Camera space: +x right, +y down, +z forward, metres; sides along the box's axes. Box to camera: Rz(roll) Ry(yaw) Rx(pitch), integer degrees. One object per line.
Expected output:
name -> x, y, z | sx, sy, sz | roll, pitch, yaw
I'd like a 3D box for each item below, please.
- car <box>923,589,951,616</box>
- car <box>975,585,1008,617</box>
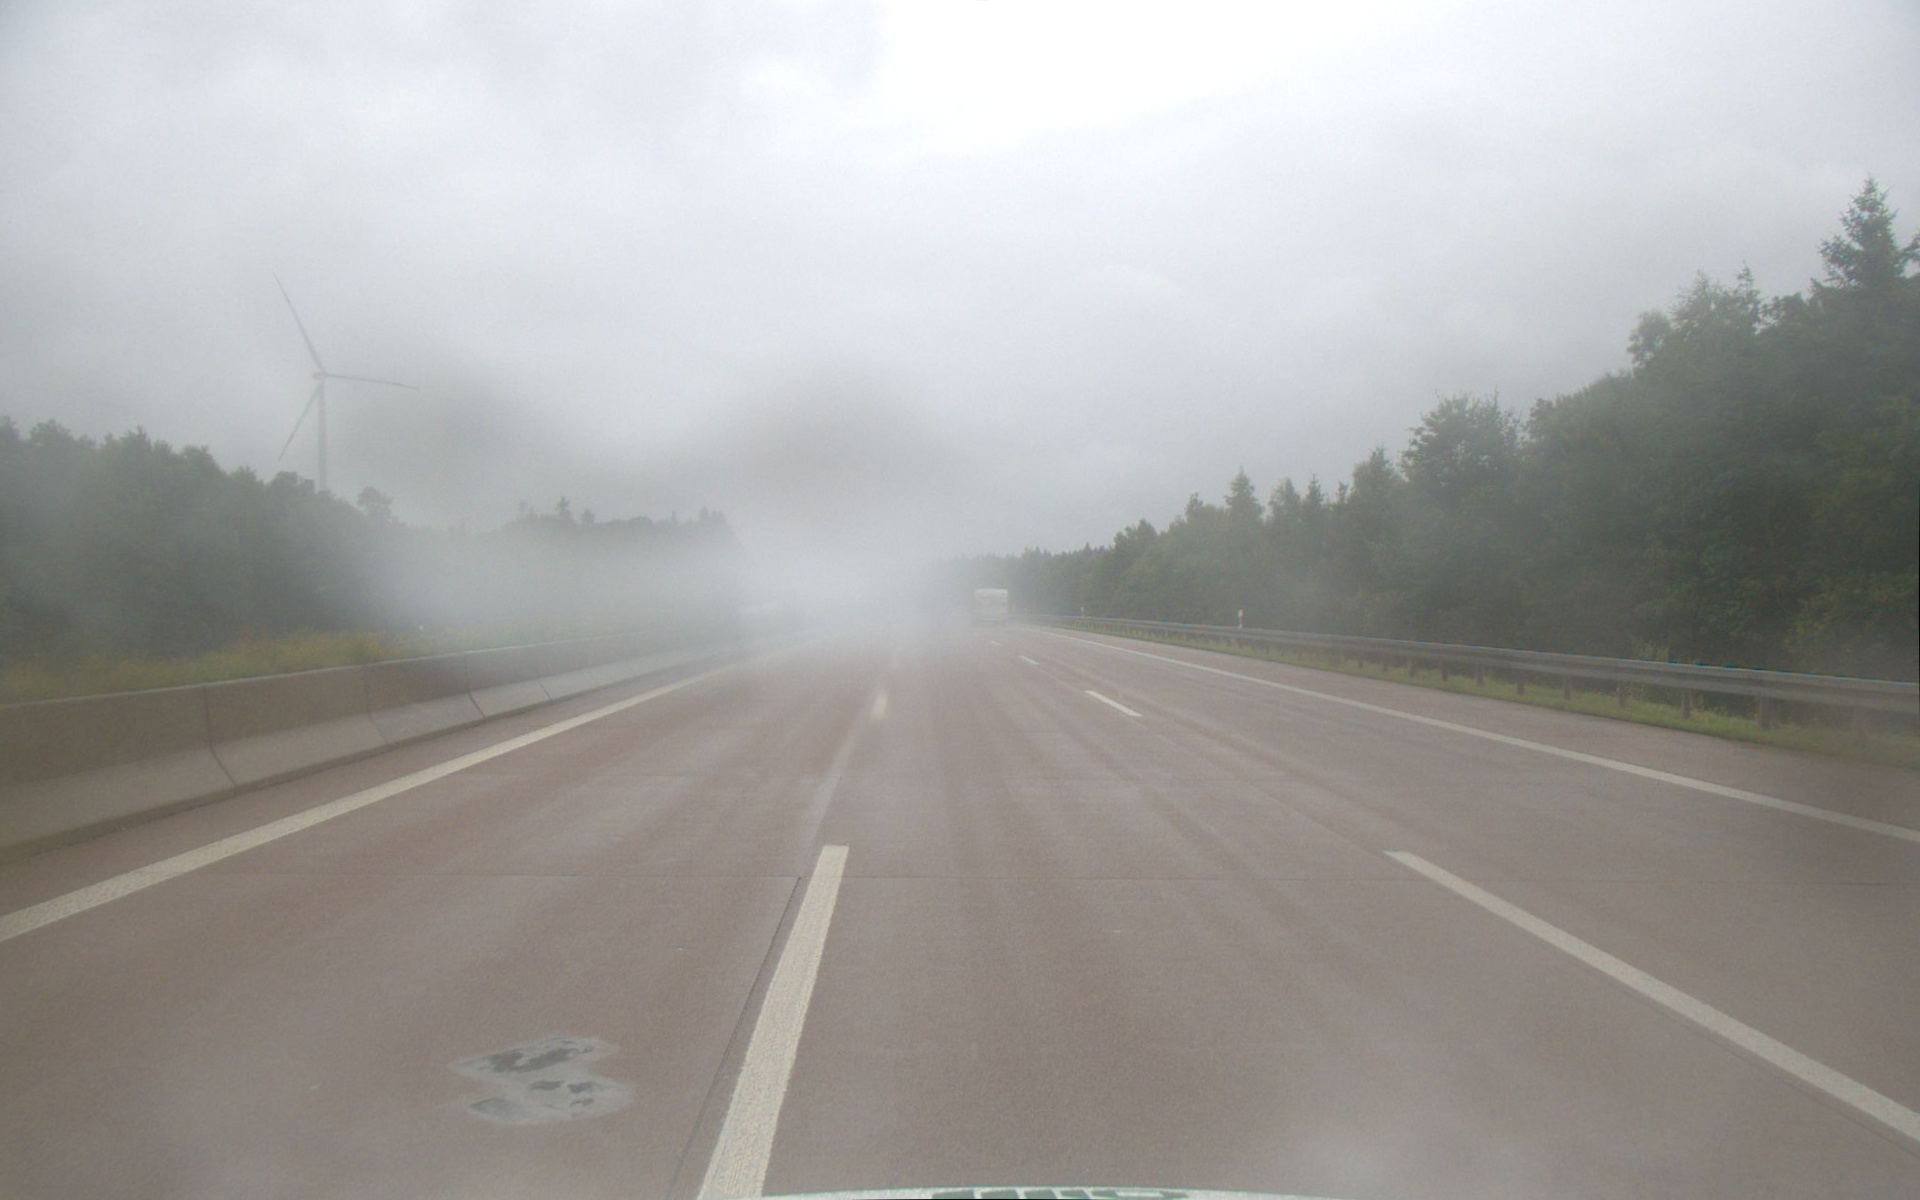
car -> -1.566, 0.163, 113.664 | 1.898, 1.760, 4.129 | 0, 0, -1
car -> 2.165, 0.061, 113.396 | 2.016, 2.034, 4.098 | 3, 0, -1
